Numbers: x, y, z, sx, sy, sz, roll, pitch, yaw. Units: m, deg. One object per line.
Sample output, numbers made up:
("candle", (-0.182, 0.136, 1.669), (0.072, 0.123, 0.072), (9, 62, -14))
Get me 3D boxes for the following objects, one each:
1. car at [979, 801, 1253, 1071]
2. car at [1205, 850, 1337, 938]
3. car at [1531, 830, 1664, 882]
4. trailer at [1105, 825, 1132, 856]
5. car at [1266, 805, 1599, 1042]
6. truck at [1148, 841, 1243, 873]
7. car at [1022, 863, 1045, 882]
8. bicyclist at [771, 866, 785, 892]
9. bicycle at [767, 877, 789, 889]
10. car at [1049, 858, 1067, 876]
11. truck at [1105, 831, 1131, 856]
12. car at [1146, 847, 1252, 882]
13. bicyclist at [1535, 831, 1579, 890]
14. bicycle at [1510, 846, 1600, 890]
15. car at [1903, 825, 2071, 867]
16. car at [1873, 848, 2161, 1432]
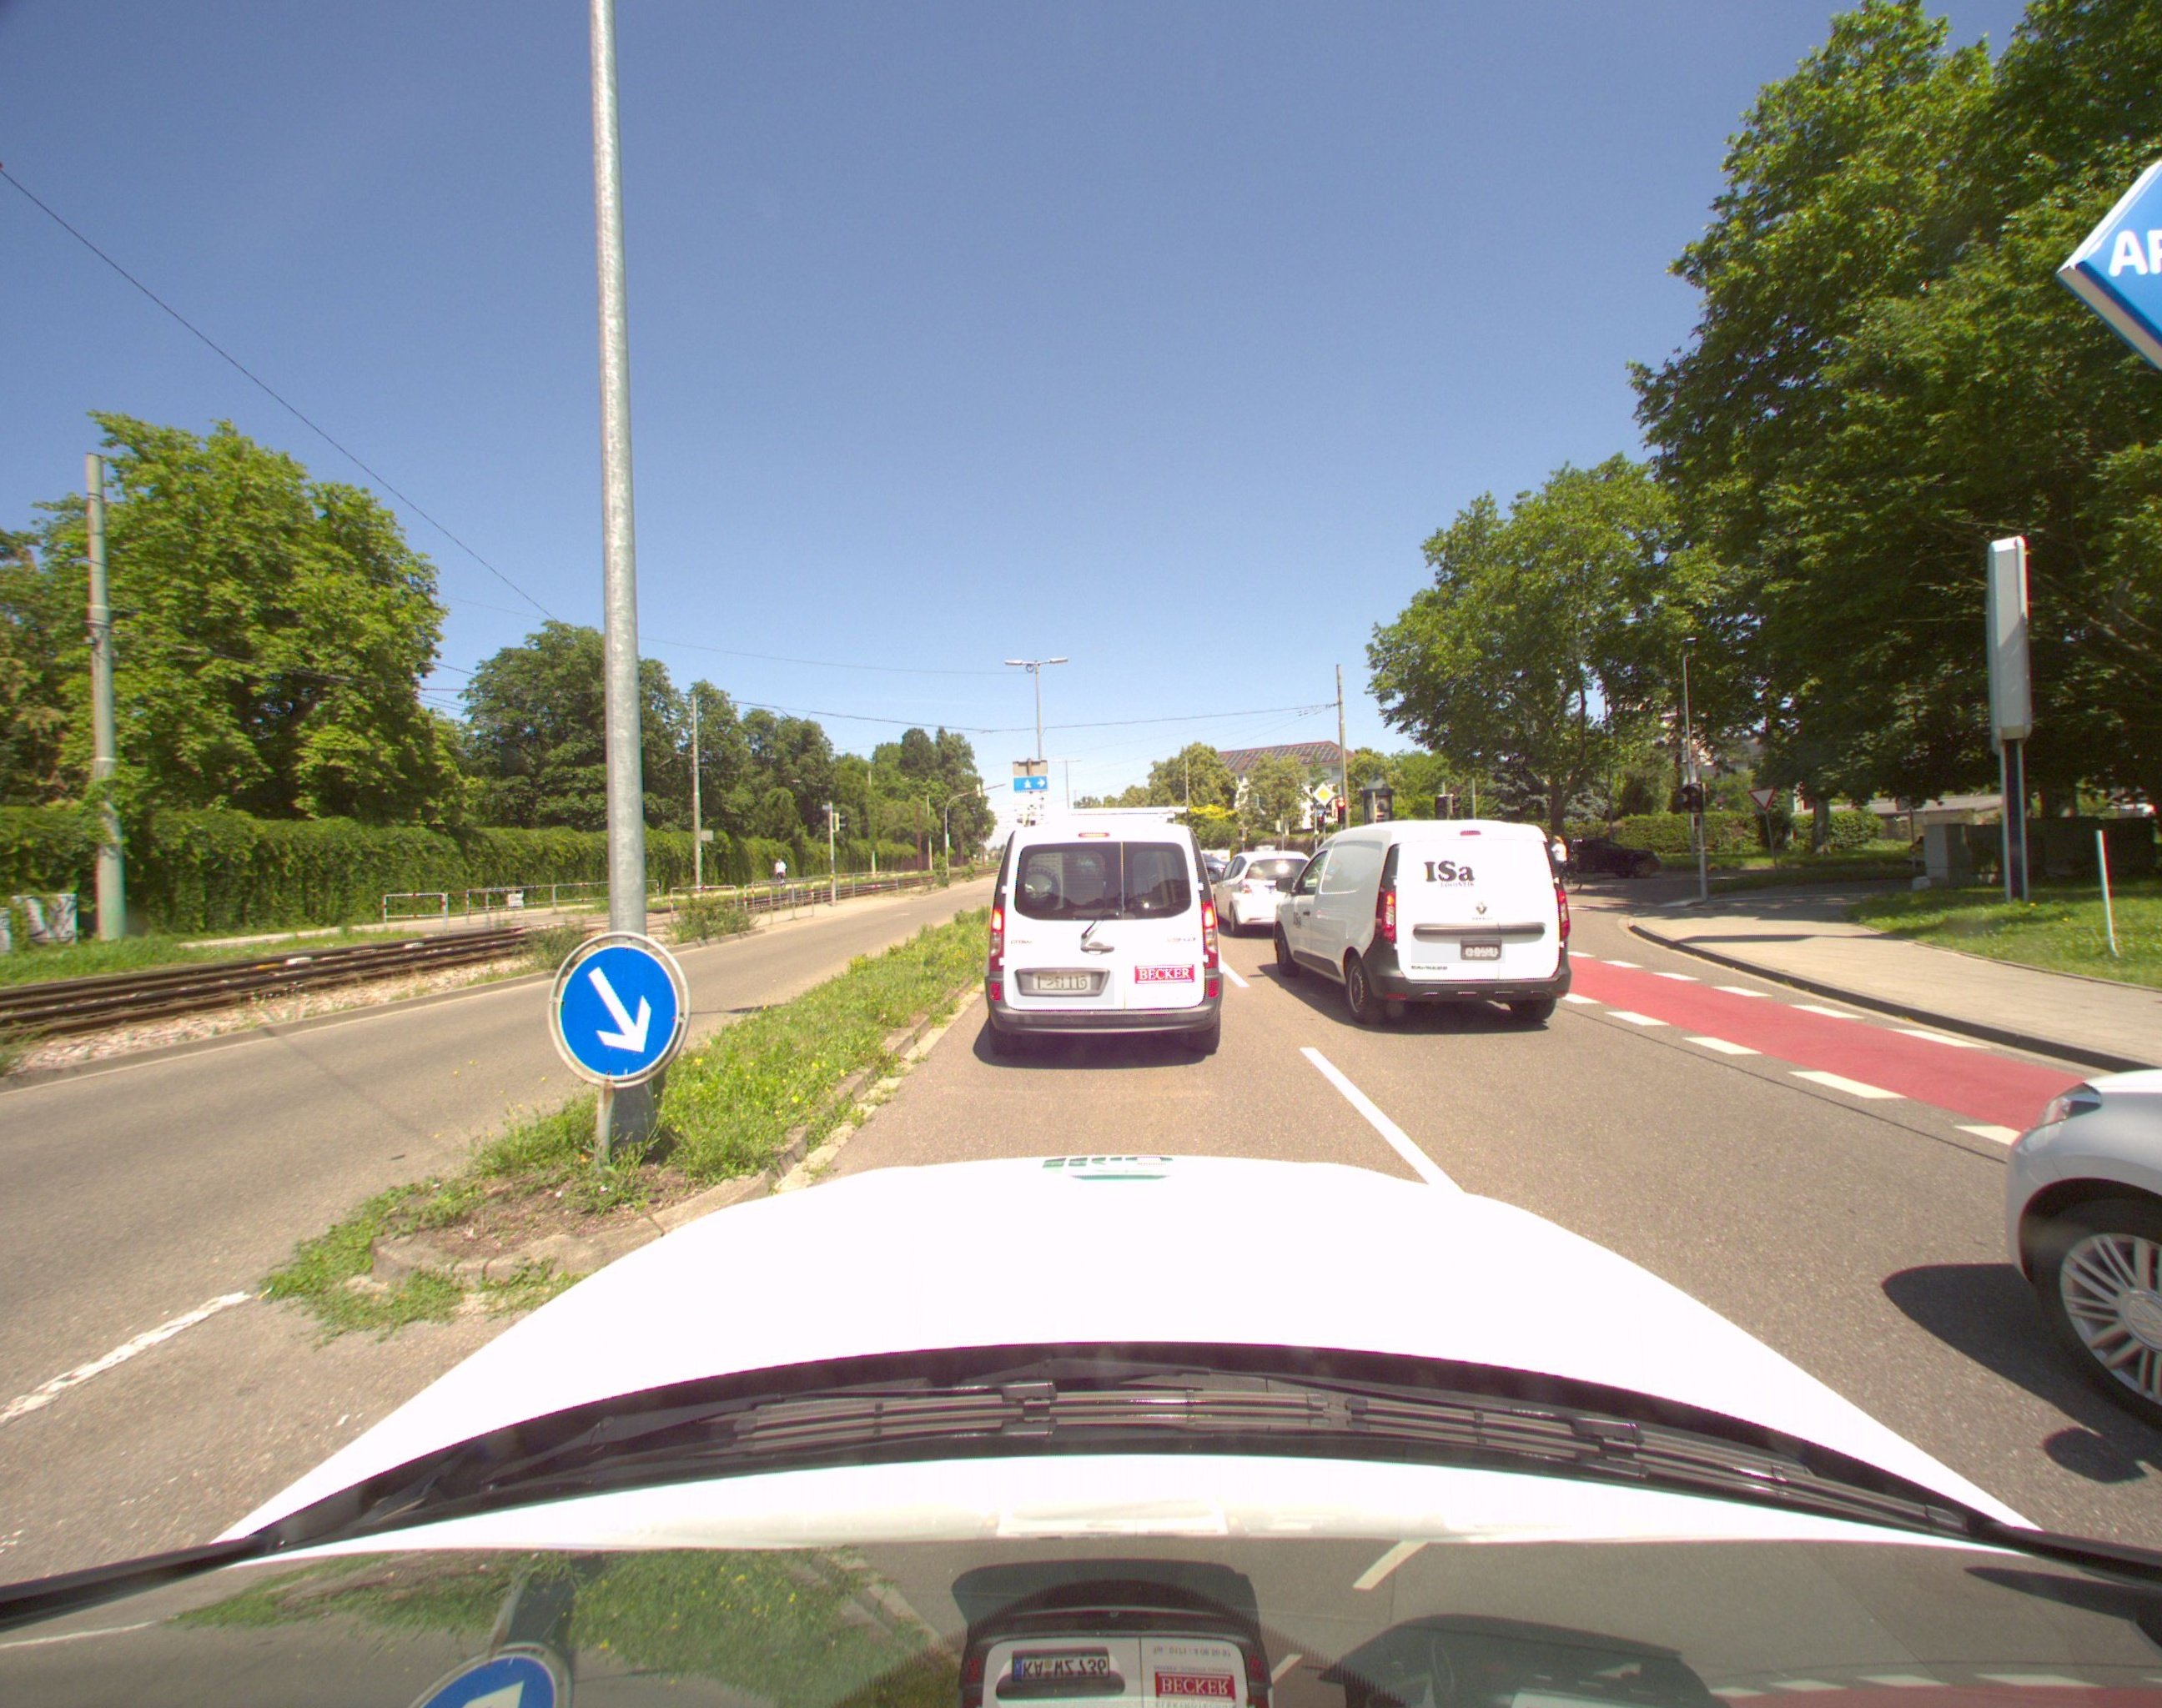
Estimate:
("car", (0.275, 0.564, 7.514), (1.860, 1.836, 3.849), (-1, 0, 1))
("car", (3.561, 0.688, 15.975), (1.749, 1.486, 4.001), (-1, 0, 2))
("car", (20.219, 0.080, 32.076), (3.957, 1.860, 2.009), (-2, 0, 16))
("trailer", (5.200, -1.825, 114.378), (3.515, 4.050, 8.980), (-2, 0, 1))
("car", (3.243, 0.548, 8.458), (1.704, 1.830, 4.013), (-2, 0, 0))
("truck", (8.037, 0.241, 57.779), (2.320, 2.013, 6.644), (-2, 0, -44))
("car", (-3.668, 1.429, 63.075), (1.688, 1.311, 3.880), (1, 0, -4))
("bicyclist", (-17.659, 1.429, 47.490), (0.556, 1.478, 0.562), (-2, 0, 2))
("bicycle", (-17.658, 1.675, 47.492), (0.559, 0.647, 1.721), (-2, 0, 3))
("car", (-2.720, 1.587, 97.994), (1.987, 2.013, 3.999), (-2, 0, 0))
("truck", (5.545, -1.552, 123.327), (3.562, 3.632, 8.812), (-2, 0, 2))
("car", (5.598, 0.514, 38.919), (4.634, 1.525, 2.013), (-2, 0, 39))
("bicyclist", (14.428, 0.188, 24.690), (0.945, 1.739, 1.139), (-2, 0, 38))
("bicycle", (14.387, 0.424, 24.763), (2.240, 1.269, 0.892), (-2, 0, 38))
("car", (33.374, -0.274, 30.123), (3.961, 1.379, 1.549), (-2, 0, 13))
("car", (3.437, 0.710, 1.009), (1.600, 1.451, 3.523), (0, 0, 3))
